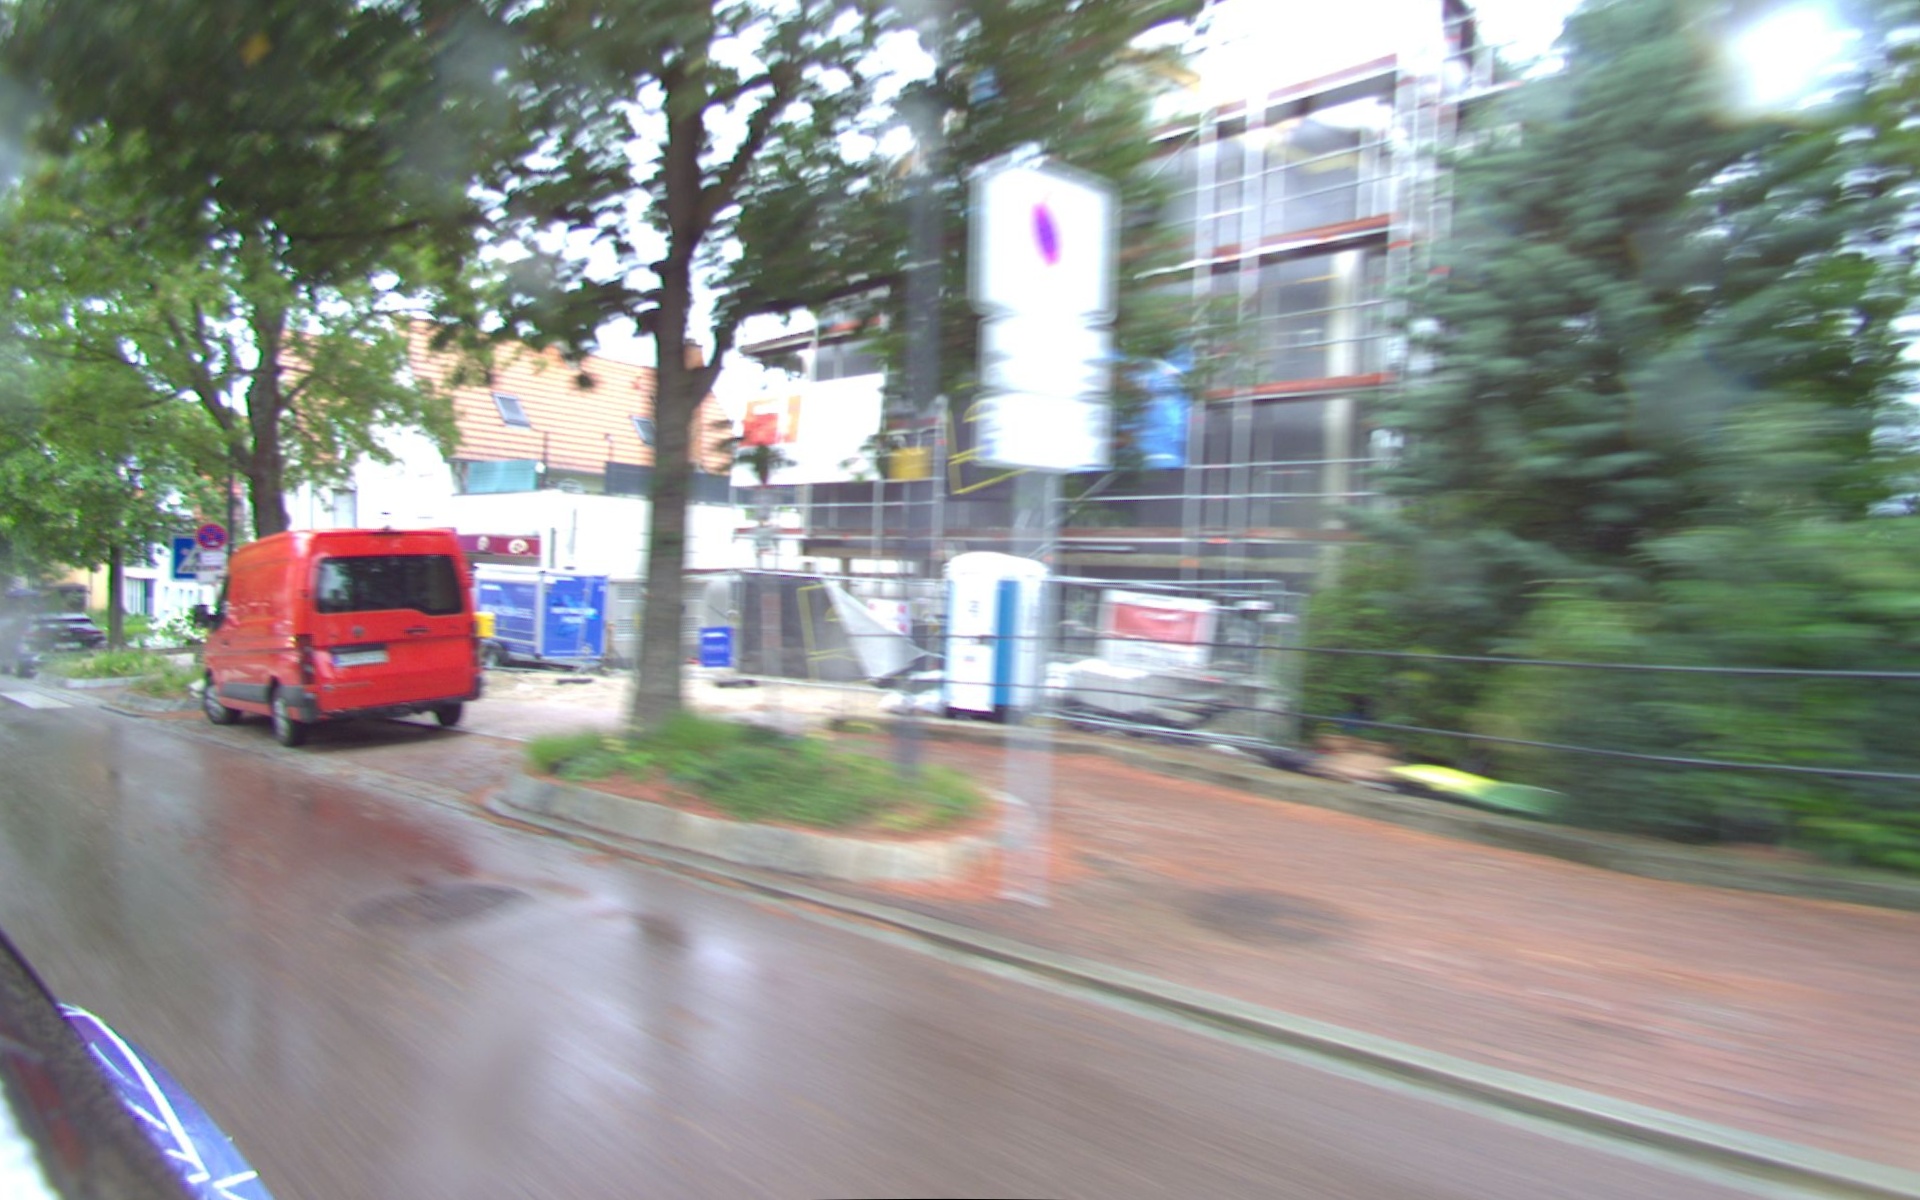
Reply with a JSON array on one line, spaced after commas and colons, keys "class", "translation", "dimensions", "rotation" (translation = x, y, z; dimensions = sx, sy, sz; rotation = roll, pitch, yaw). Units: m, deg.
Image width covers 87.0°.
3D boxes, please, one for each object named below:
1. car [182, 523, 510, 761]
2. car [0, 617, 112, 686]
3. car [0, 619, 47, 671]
[{"class": "car", "translation": [-8.372, 0.506, 13.485], "dimensions": [5.785, 2.502, 2.278], "rotation": [-2, -1, 43]}, {"class": "car", "translation": [-23.449, 1.272, 26.028], "dimensions": [3.996, 1.565, 1.754], "rotation": [-1, 1, 39]}, {"class": "car", "translation": [-30.502, 1.410, 32.339], "dimensions": [3.865, 1.544, 1.629], "rotation": [-1, 0, 43]}]
